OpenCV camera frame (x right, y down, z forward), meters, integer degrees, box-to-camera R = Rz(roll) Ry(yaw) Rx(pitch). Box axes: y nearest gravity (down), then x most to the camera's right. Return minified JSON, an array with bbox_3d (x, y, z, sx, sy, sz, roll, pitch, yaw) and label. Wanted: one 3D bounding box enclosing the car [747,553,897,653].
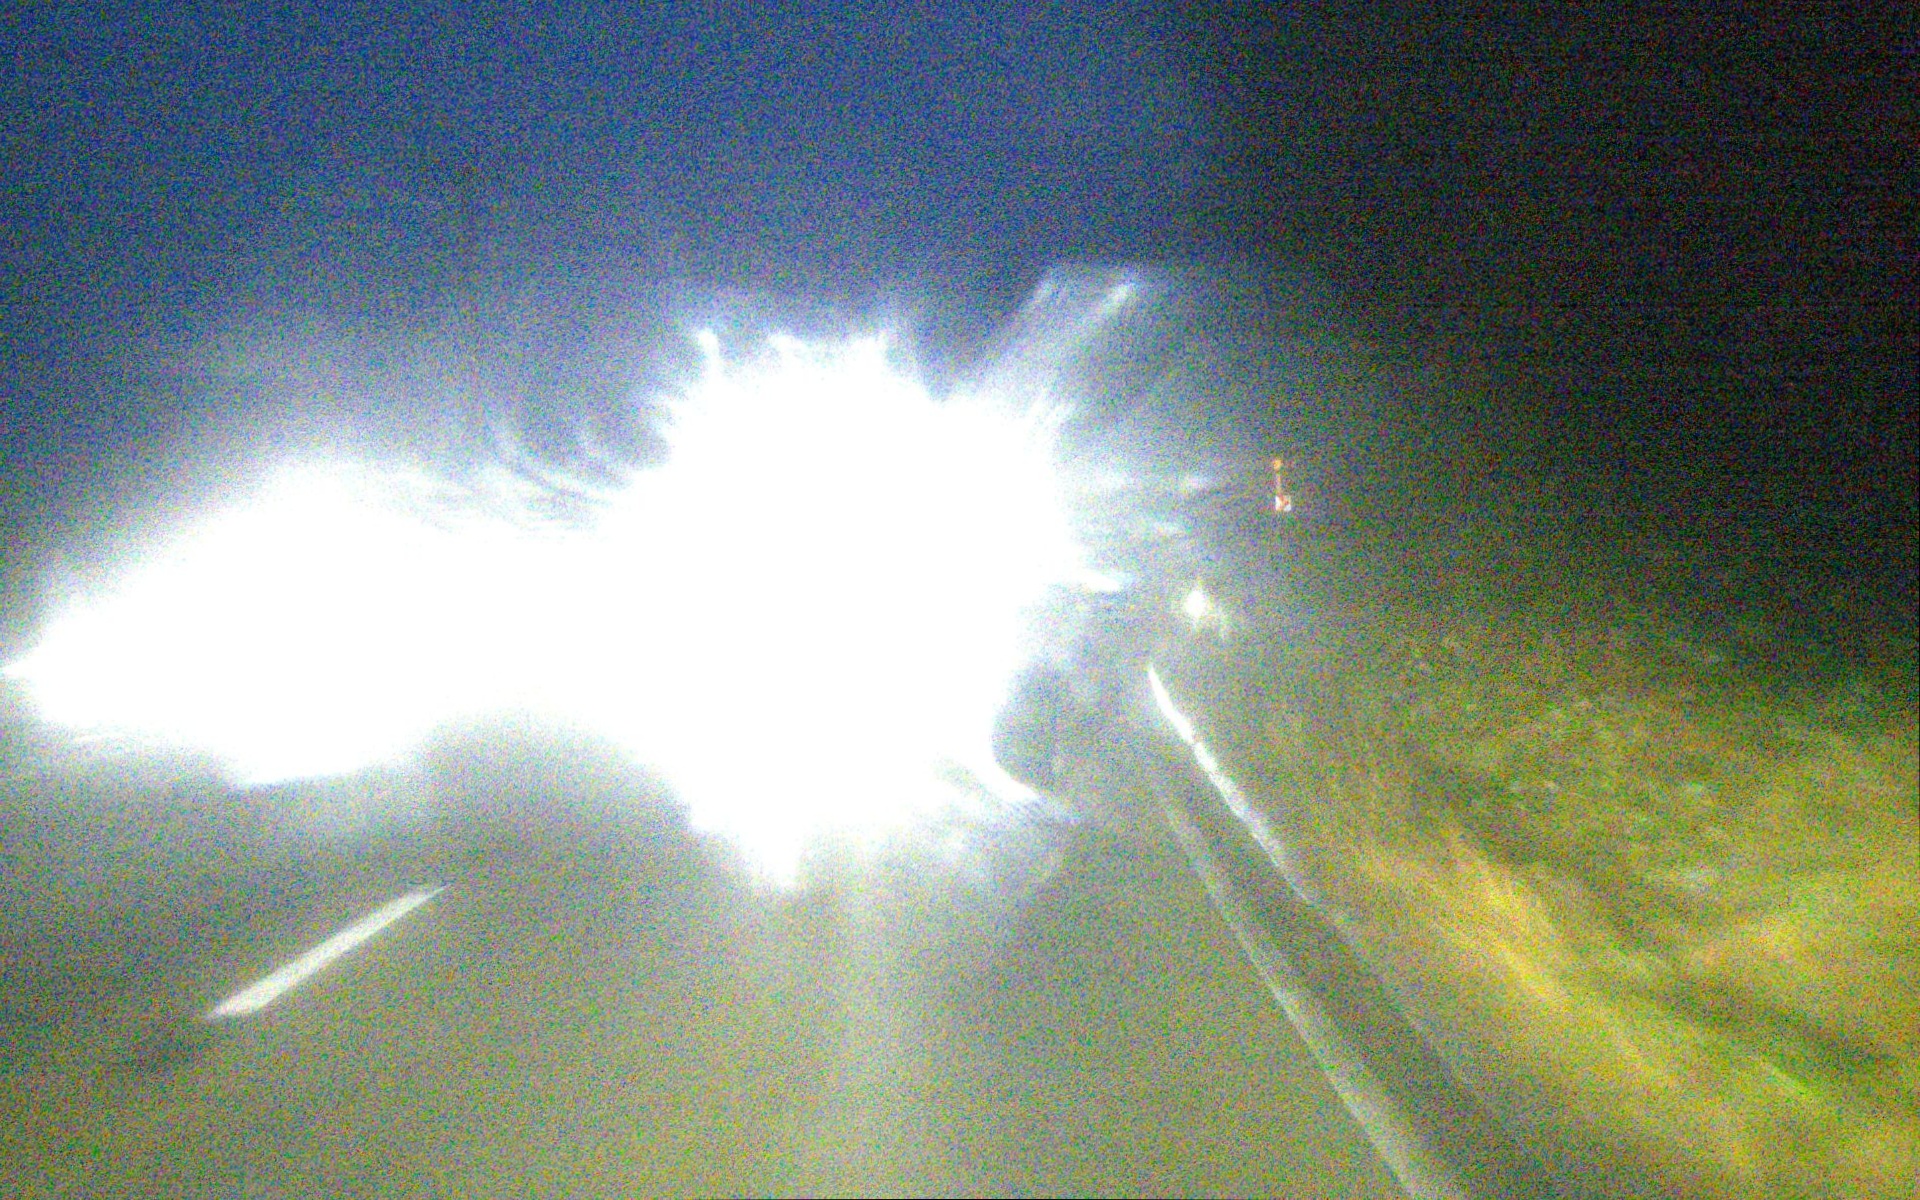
[{"bbox_3d":[-2.020,0.022,51.479,1.993,1.406,4.000,1,1,1],"label":"car"}]
